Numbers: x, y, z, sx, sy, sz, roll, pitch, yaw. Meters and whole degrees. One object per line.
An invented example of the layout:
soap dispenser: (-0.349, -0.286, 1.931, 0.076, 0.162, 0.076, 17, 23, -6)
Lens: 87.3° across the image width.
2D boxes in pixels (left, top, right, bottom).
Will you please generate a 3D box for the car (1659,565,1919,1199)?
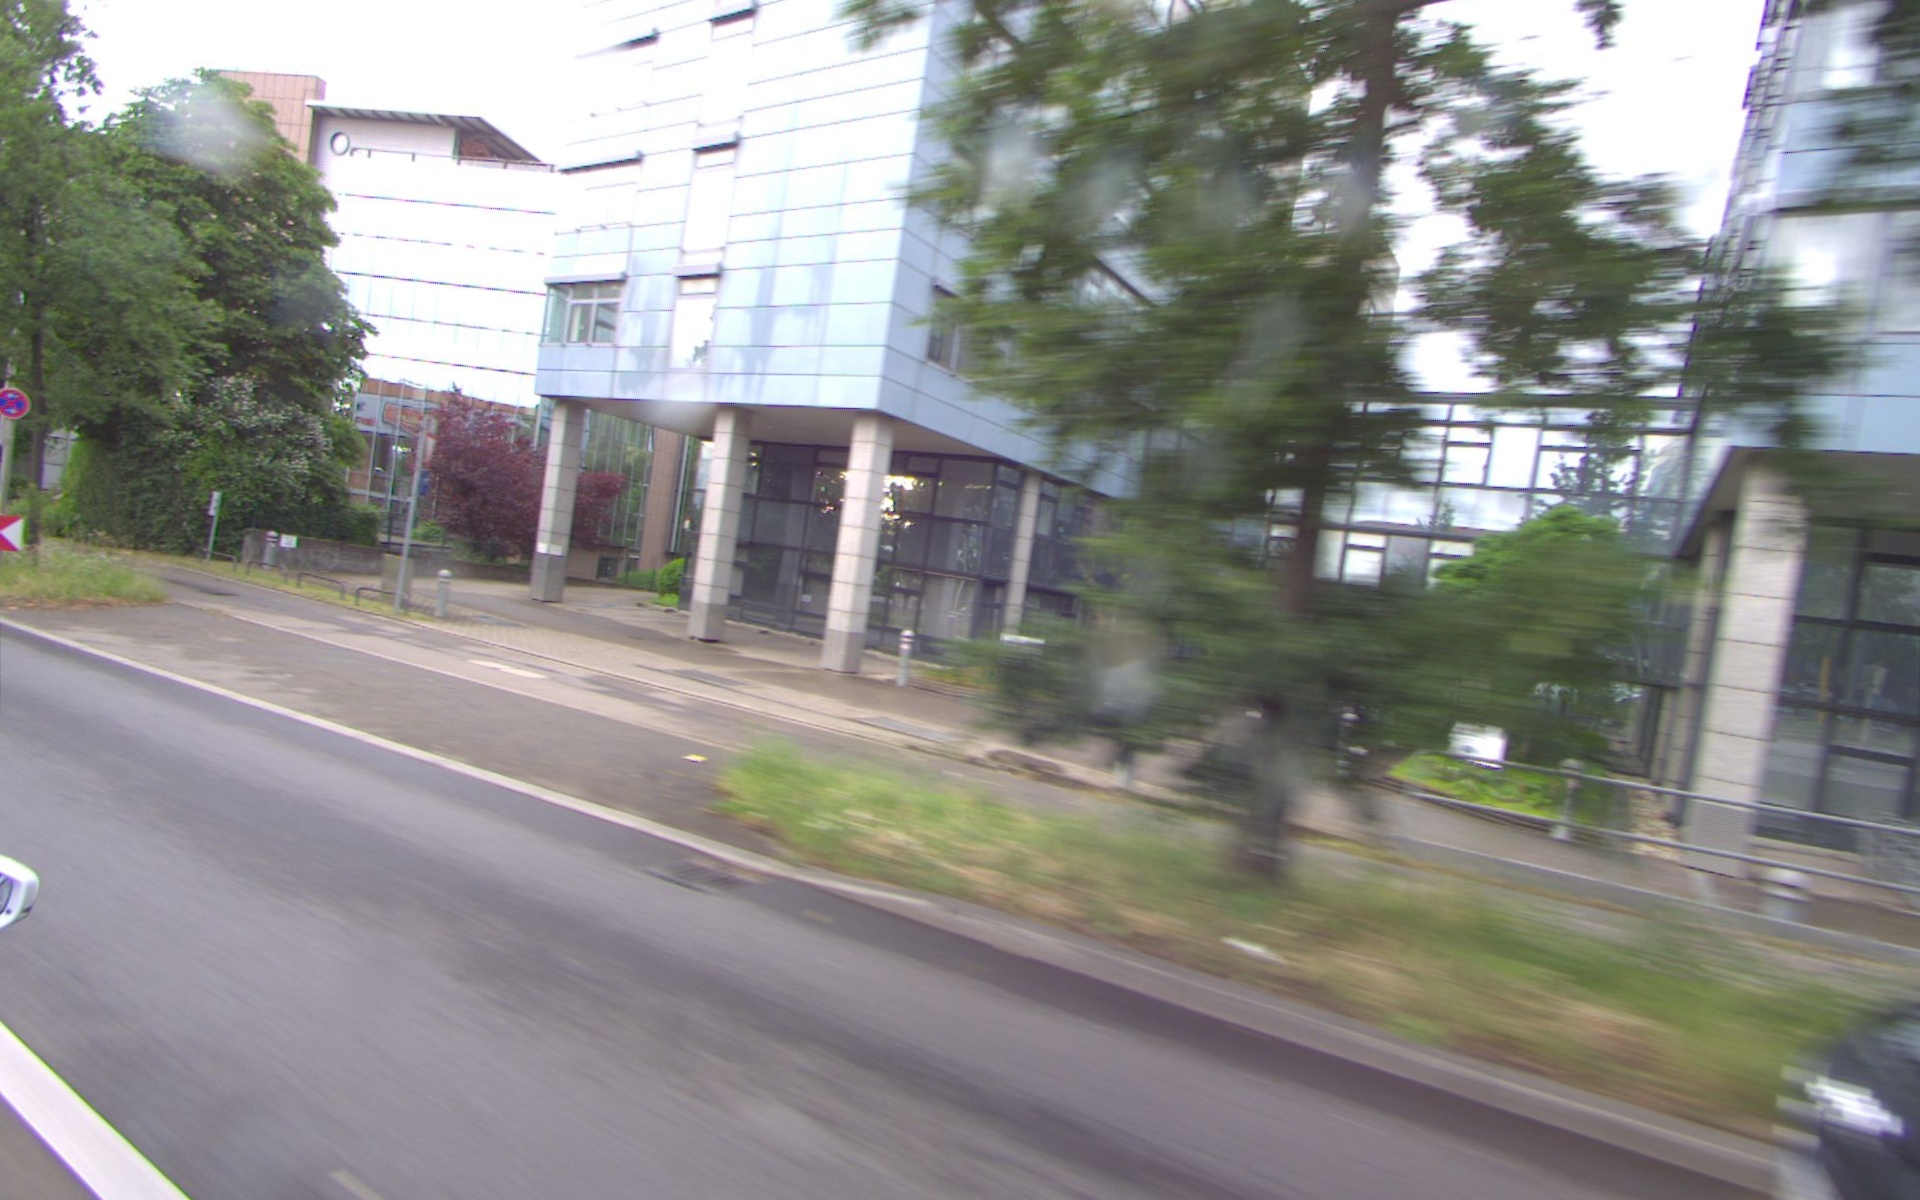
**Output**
car: (3.401, 1.077, 0.902, 4.298, 1.690, 1.814, 7, -1, 32)
